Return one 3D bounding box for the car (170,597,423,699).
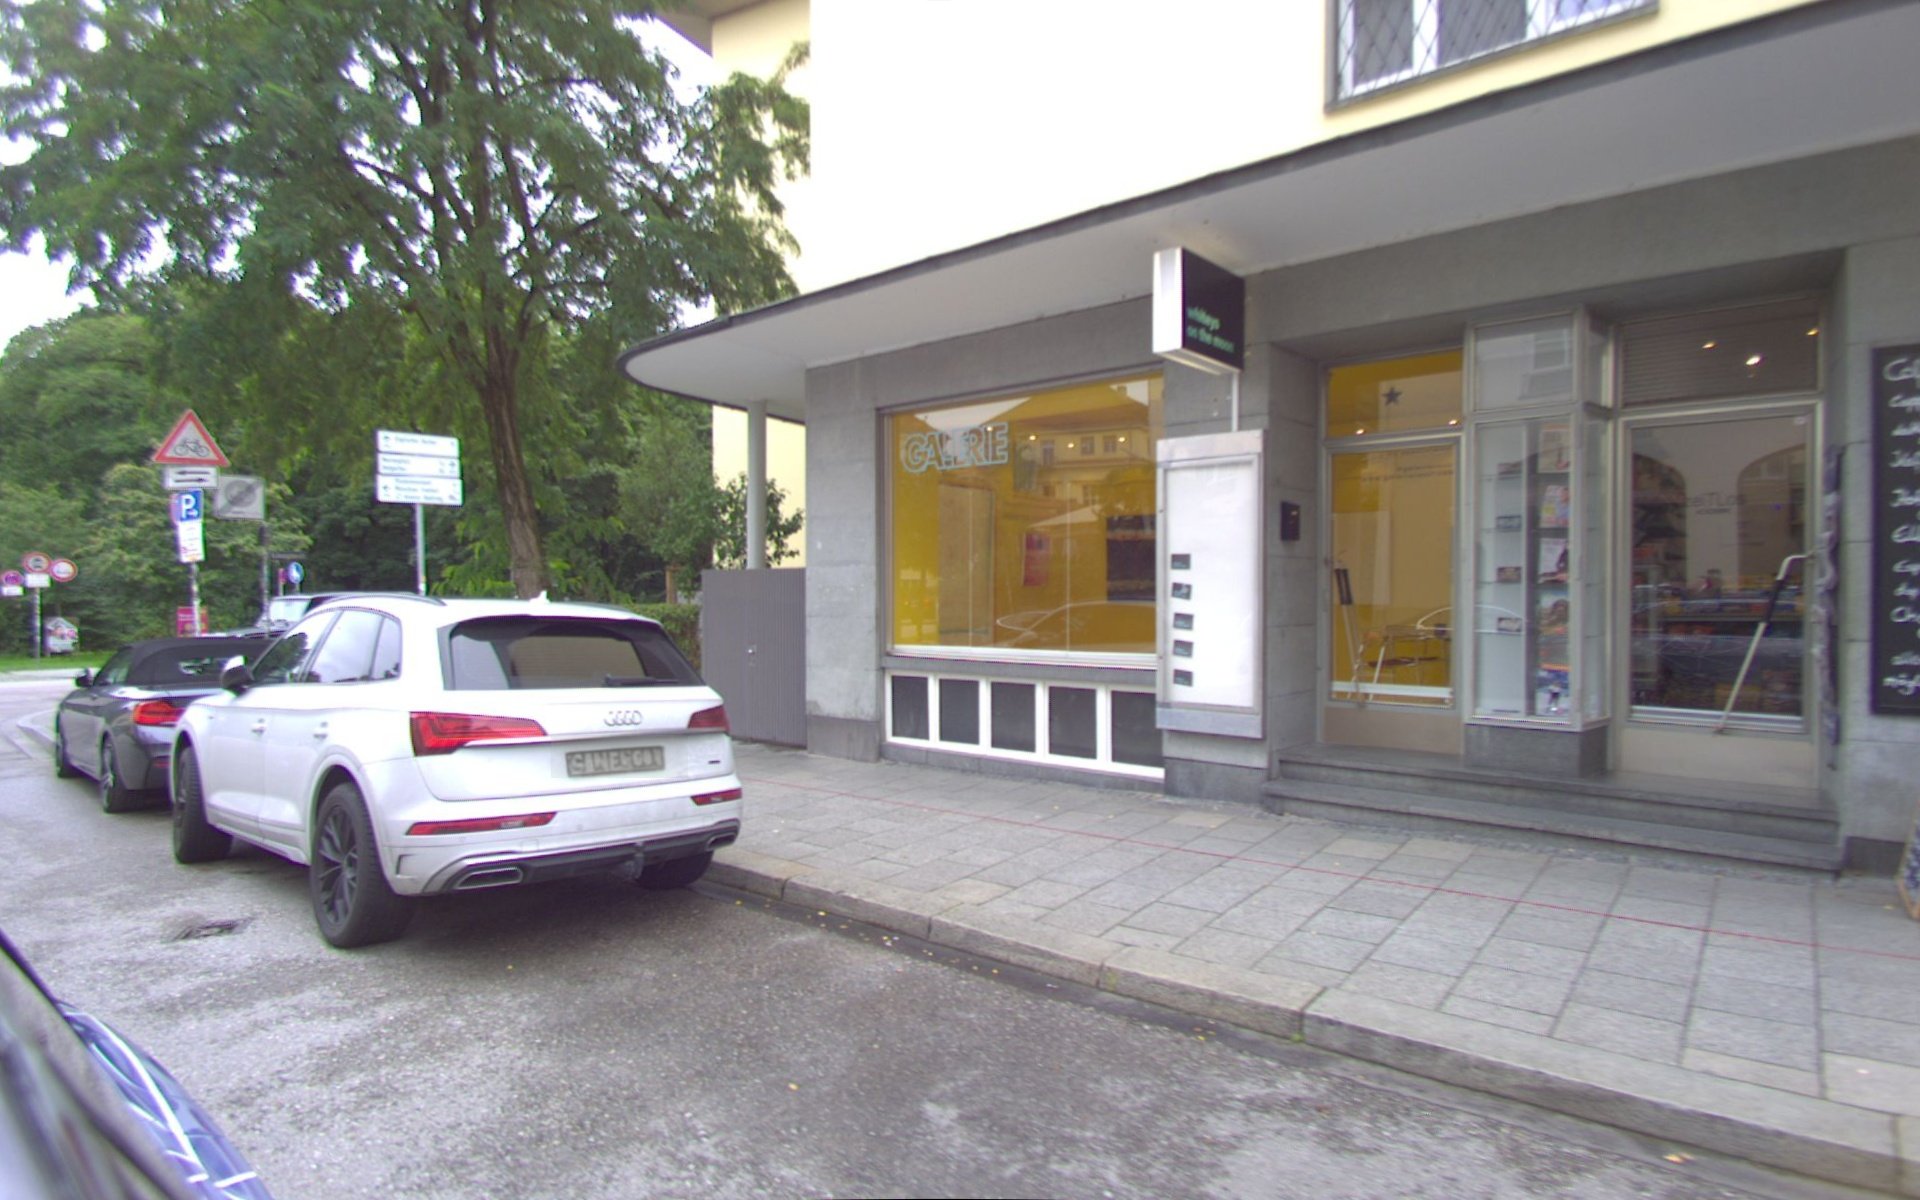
[{"bbox_3d":[-14.666,0.979,22.668,1.925,2.016,4.382,1,0,25],"label":"car"}]

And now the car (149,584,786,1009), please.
[{"bbox_3d":[-3.109,0.847,5.936,4.335,1.596,1.784,-3,-4,41],"label":"car"}]

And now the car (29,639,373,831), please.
[{"bbox_3d":[-7.251,1.079,9.522,4.095,1.421,1.727,-2,-3,41],"label":"car"}]

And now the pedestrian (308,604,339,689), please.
[{"bbox_3d":[-13.766,1.000,21.904,0.552,1.812,0.642,0,-3,-32],"label":"pedestrian"}]

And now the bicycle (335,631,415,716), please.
[{"bbox_3d":[-9.100,1.106,15.724,1.854,1.219,0.555,-1,0,43],"label":"bicycle"}]

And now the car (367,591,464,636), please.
[{"bbox_3d":[-26.568,0.638,49.483,3.900,2.120,1.911,-1,0,-19],"label":"car"}]

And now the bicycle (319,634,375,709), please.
[{"bbox_3d":[-10.564,1.187,17.490,0.573,1.135,2.305,-2,0,-26],"label":"bicycle"}]

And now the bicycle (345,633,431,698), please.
[{"bbox_3d":[-11.073,1.237,19.655,0.575,1.165,1.952,-2,-1,-1],"label":"bicycle"}]
